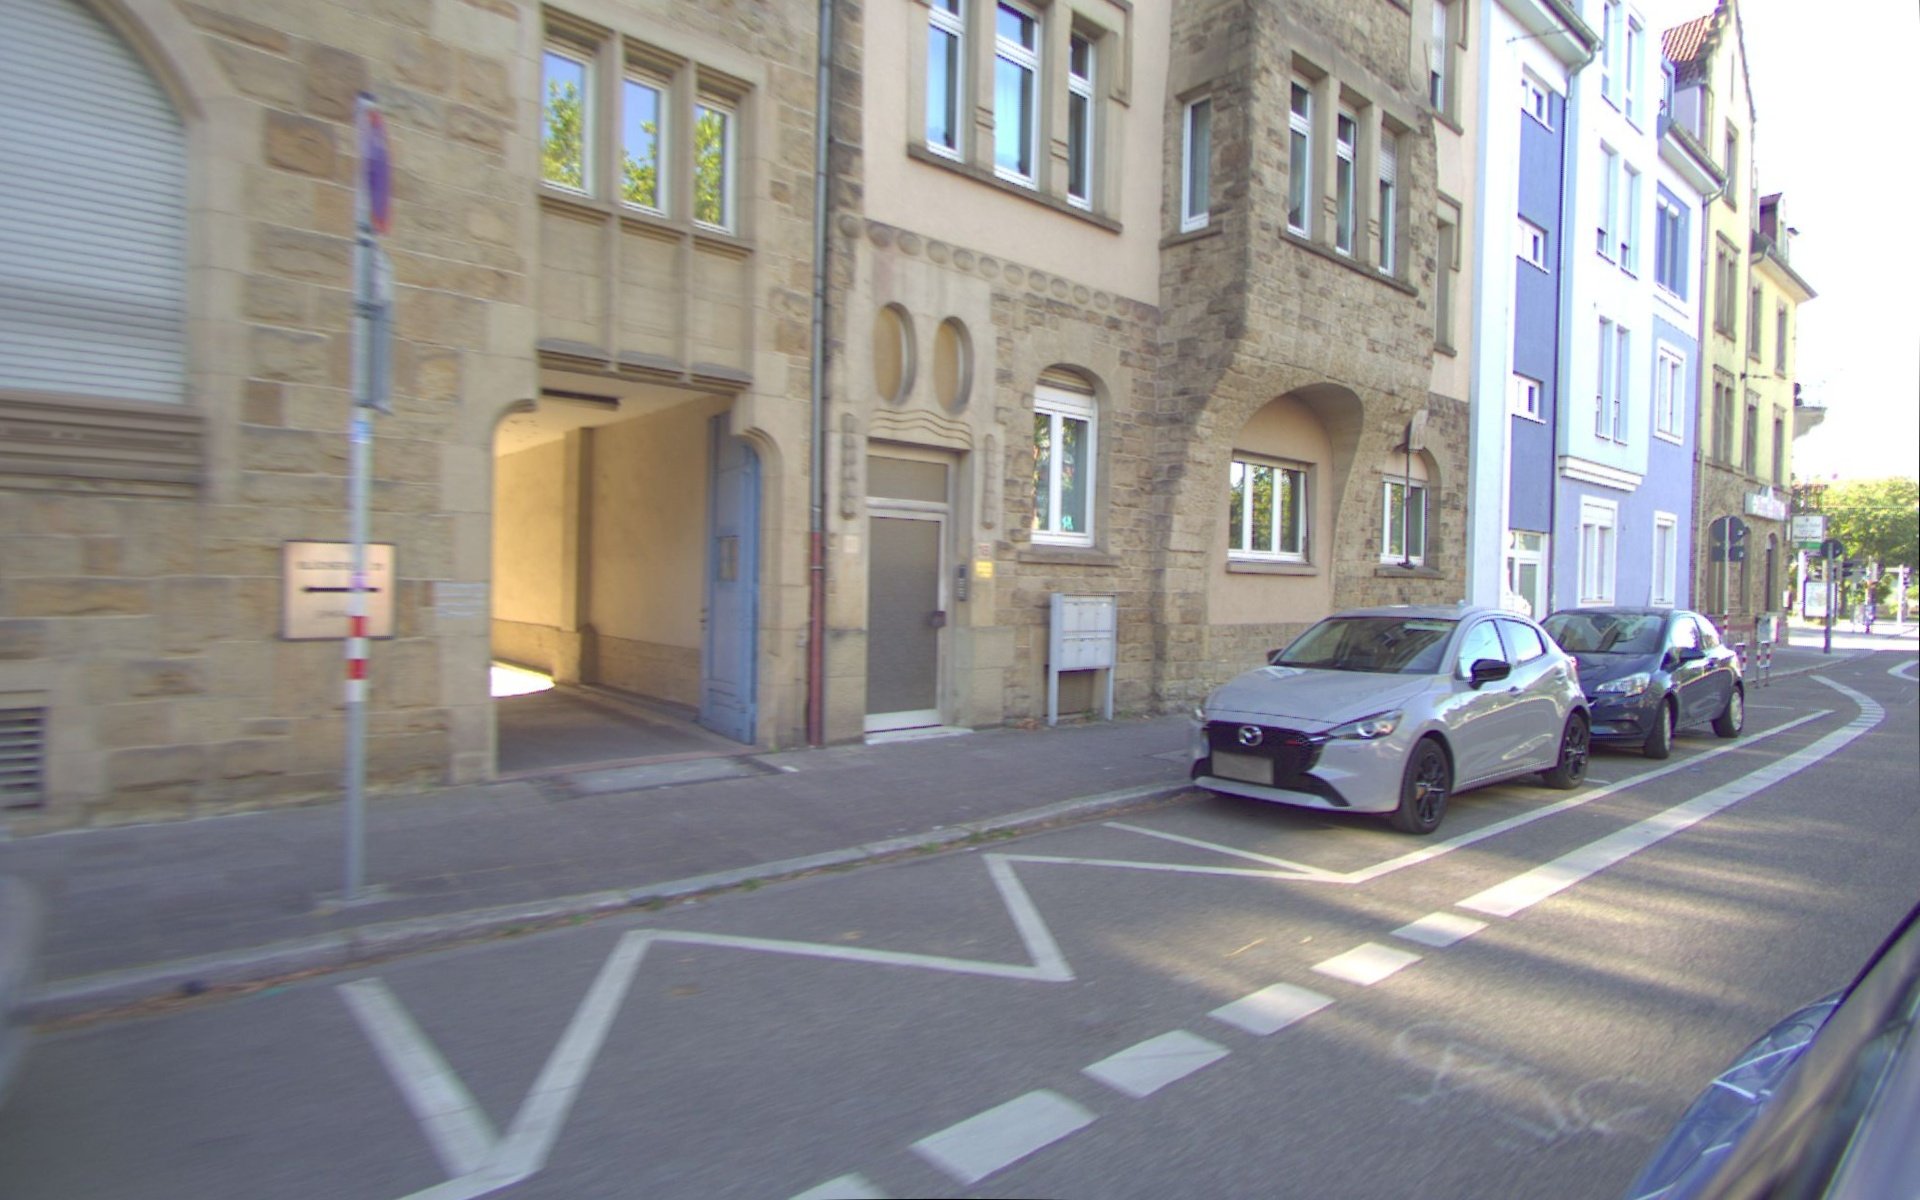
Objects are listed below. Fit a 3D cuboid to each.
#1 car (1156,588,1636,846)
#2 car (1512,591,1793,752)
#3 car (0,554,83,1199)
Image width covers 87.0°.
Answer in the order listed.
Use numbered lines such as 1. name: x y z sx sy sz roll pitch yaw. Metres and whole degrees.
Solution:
1. car: 3.571 0.690 7.961 4.120 1.520 1.756 0 -1 -39
2. car: 7.846 0.652 11.330 3.930 1.501 1.658 0 0 -41
3. car: -3.986 0.678 1.391 4.151 1.520 1.717 0 -1 -40
